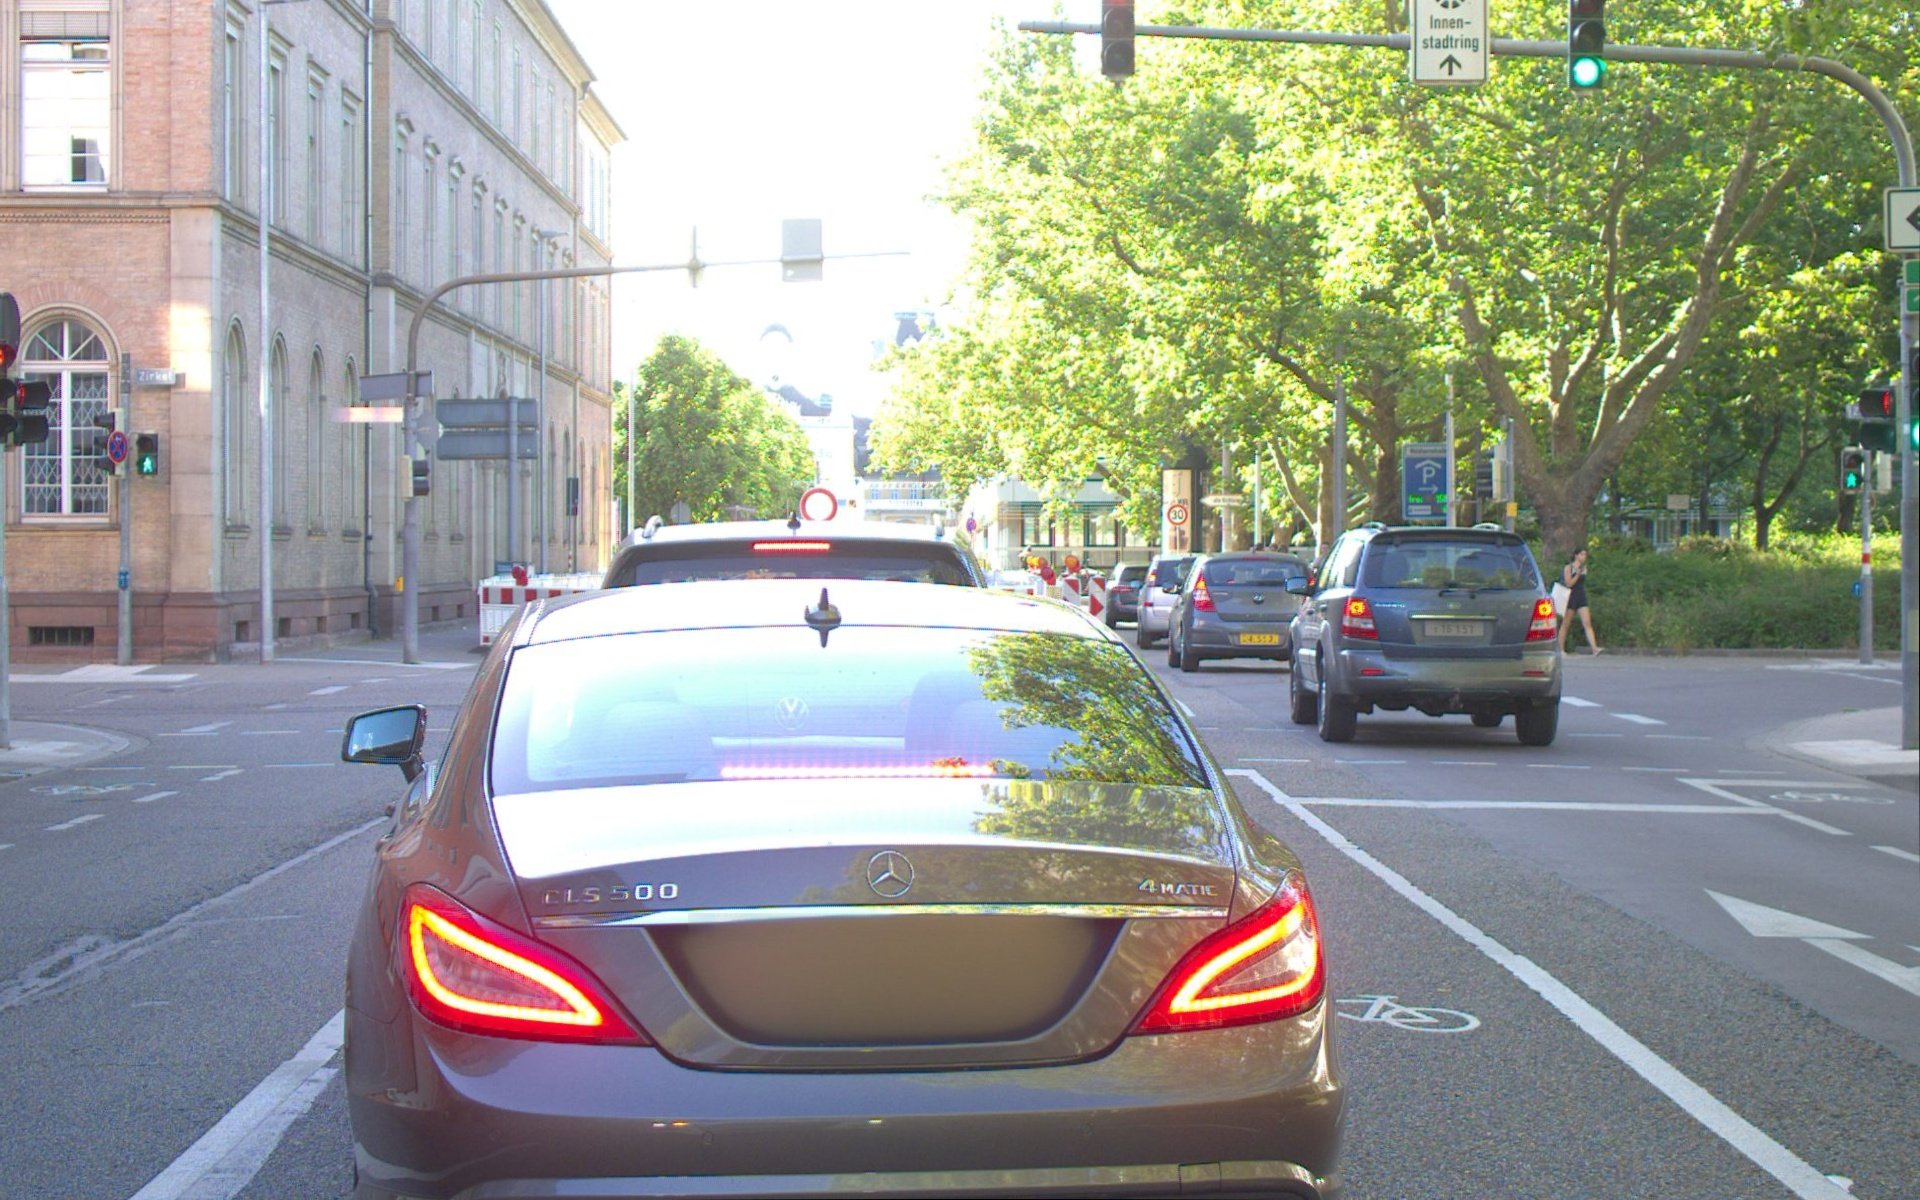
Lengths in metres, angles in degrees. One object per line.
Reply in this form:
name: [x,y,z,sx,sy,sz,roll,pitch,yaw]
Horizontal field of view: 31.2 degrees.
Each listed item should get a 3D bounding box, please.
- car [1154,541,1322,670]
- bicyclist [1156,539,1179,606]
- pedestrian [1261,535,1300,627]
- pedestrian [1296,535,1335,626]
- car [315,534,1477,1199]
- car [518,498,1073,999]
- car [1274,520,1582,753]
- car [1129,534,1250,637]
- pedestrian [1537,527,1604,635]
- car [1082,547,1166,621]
car: [3.385,0.031,42.469,1.704,1.514,4.000,0,1,-1]
bicyclist: [6.341,-0.850,105.097,0.594,2.032,0.566,1,0,-4]
pedestrian: [6.278,-0.372,67.311,0.635,1.791,0.699,1,0,-4]
pedestrian: [6.959,-0.379,67.318,0.635,1.754,0.699,1,0,-4]
car: [-0.358,0.624,7.478,1.861,1.514,4.001,0,1,-8]
car: [-0.579,0.470,13.608,1.861,1.677,4.000,0,1,-1]
car: [3.759,0.240,28.329,1.861,1.758,4.482,0,1,-1]
car: [3.815,-0.258,57.649,1.731,1.656,3.681,1,1,-1]
pedestrian: [8.848,-0.279,49.843,0.635,1.540,0.910,1,0,-13]
car: [3.561,-0.362,75.070,1.601,1.543,3.681,1,1,-1]
